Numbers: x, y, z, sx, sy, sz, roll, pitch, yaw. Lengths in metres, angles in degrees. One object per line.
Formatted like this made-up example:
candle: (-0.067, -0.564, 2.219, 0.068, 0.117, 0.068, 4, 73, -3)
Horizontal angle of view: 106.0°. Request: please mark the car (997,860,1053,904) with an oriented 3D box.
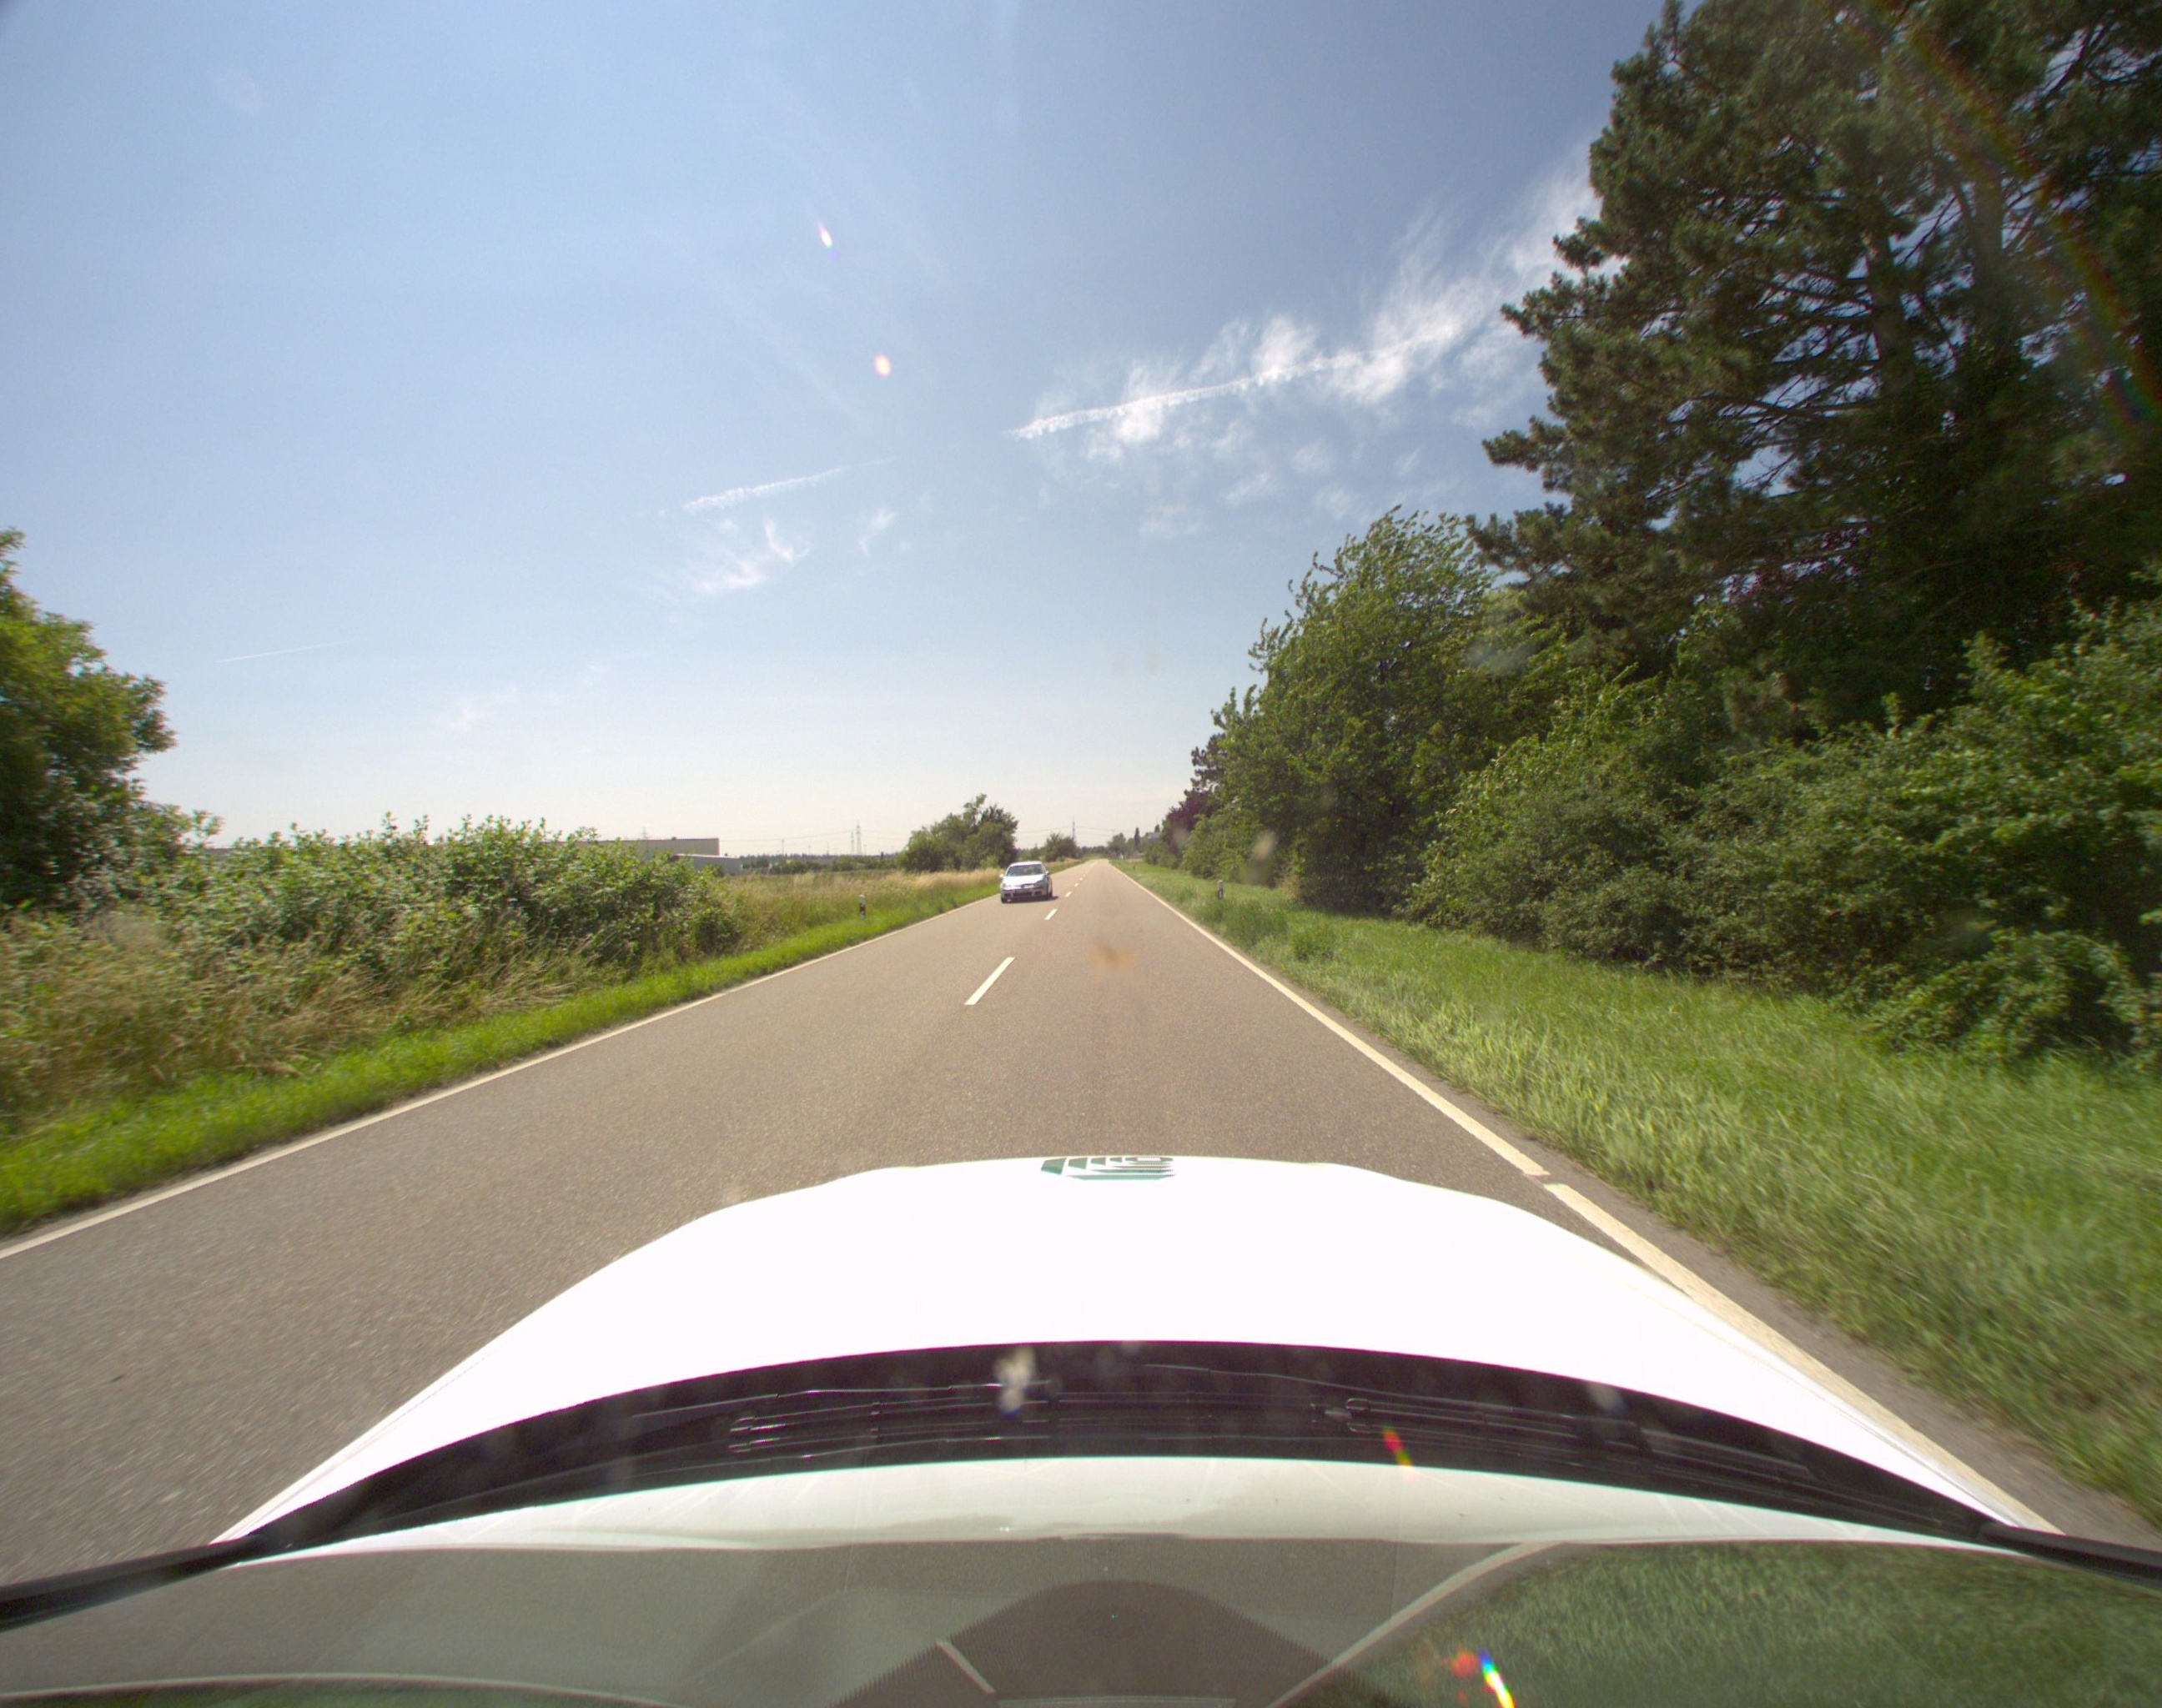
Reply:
car: (-2.076, 1.017, 31.309, 1.673, 1.421, 4.422, -4, 0, 0)
